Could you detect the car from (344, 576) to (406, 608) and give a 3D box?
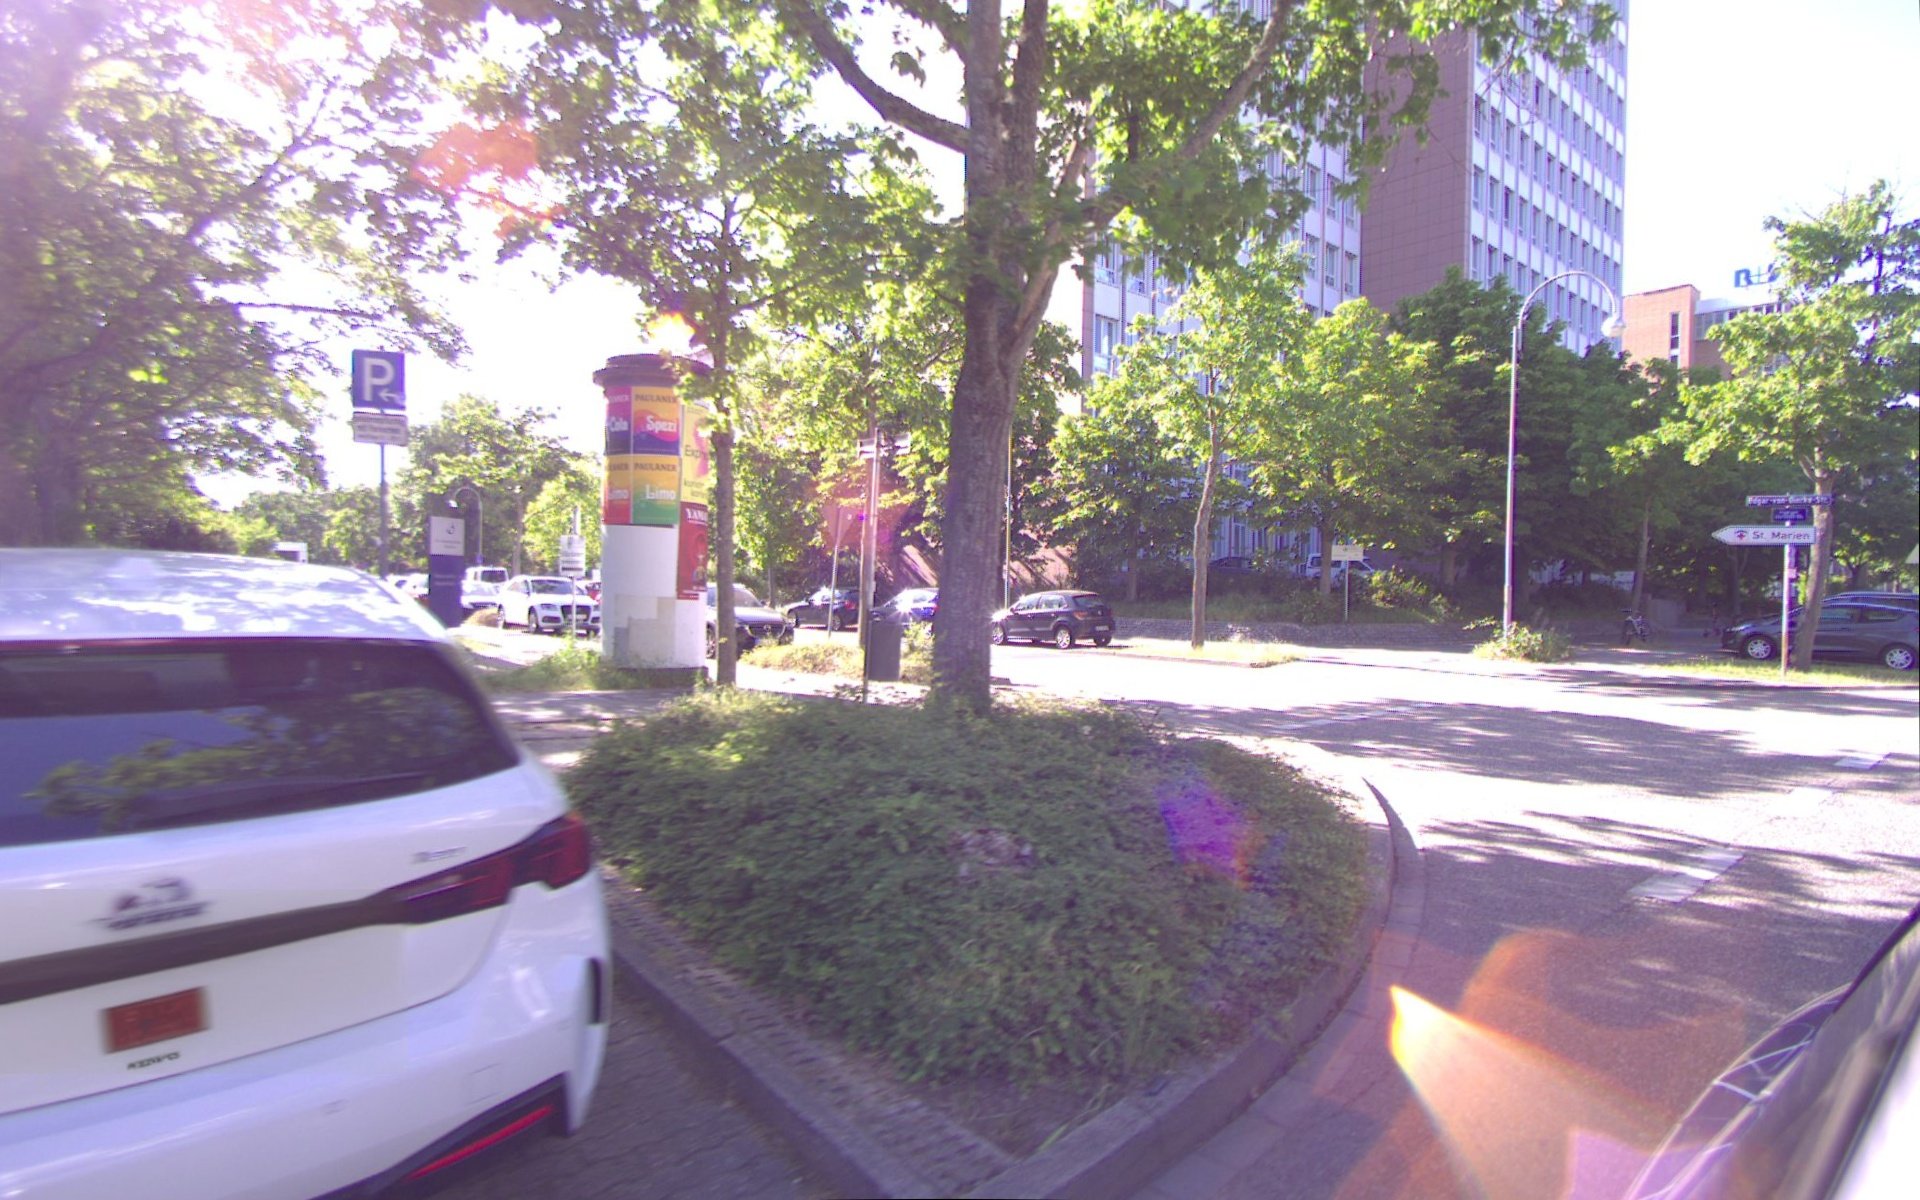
[{"bbox_3d":[-28.102,-0.399,48.553,1.888,1.464,3.994,0,1,-41],"label":"car"}]

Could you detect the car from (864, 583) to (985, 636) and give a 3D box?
[{"bbox_3d":[-1.135,0.237,30.615,1.621,1.487,3.851,0,1,-41],"label":"car"}]

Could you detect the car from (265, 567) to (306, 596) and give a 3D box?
[{"bbox_3d":[-47.831,-1.288,71.750,1.965,1.971,3.993,0,1,-41],"label":"car"}]

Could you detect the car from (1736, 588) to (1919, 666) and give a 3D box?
[{"bbox_3d":[20.654,0.622,23.568,1.565,1.464,3.842,3,3,-43],"label":"car"}]

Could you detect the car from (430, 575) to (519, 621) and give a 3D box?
[{"bbox_3d":[-16.982,-0.091,35.308,1.803,1.520,4.012,0,1,-41],"label":"car"}]

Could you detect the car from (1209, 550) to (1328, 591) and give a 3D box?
[{"bbox_3d":[12.132,-1.158,39.968,4.225,1.525,1.697,2,1,44],"label":"car"}]

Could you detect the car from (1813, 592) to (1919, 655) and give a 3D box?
[{"bbox_3d":[25.954,0.657,27.658,1.780,1.584,3.873,0,3,-45],"label":"car"}]

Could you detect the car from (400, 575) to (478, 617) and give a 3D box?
[{"bbox_3d":[-20.432,-0.189,39.607,1.803,1.563,4.012,0,1,-41],"label":"car"}]

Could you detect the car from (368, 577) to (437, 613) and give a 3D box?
[{"bbox_3d":[-24.330,-0.221,44.109,1.803,1.495,4.012,0,1,-41],"label":"car"}]

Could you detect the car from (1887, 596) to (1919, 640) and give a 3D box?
[{"bbox_3d":[34.681,0.690,35.059,1.694,1.525,3.579,0,3,-41],"label":"car"}]

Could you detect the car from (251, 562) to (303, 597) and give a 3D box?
[{"bbox_3d":[-40.479,-1.207,59.923,1.967,2.039,3.991,0,1,-43],"label":"car"}]

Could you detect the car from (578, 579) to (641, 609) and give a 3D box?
[{"bbox_3d":[-17.790,-0.333,51.343,1.737,1.442,3.868,0,1,-41],"label":"car"}]

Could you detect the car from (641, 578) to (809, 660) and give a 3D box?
[{"bbox_3d":[-5.064,0.333,21.470,1.803,1.550,3.994,1,1,-41],"label":"car"}]

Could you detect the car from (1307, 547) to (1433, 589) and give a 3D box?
[{"bbox_3d":[17.803,-1.407,44.117,1.844,1.707,4.720,0,1,-44],"label":"car"}]

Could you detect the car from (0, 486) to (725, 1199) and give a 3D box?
[{"bbox_3d":[-2.682,0.508,3.206,1.806,1.612,4.434,0,3,-43],"label":"car"}]

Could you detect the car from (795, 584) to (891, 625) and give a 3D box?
[{"bbox_3d":[-4.037,0.128,34.558,1.525,1.321,3.497,0,1,-41],"label":"car"}]

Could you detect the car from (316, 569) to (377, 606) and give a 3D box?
[{"bbox_3d":[-31.843,-0.664,52.455,1.965,1.822,4.443,0,1,-41],"label":"car"}]

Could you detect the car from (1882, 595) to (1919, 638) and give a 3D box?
[{"bbox_3d":[36.423,0.639,36.949,1.656,1.569,3.975,0,1,-44],"label":"car"}]

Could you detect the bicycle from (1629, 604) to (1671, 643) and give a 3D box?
[{"bbox_3d":[18.483,0.620,27.095,1.921,1.006,0.303,0,0,-37],"label":"bicycle"}]

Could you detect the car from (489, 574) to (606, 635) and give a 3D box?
[{"bbox_3d":[-11.992,0.092,29.261,1.803,1.639,4.451,0,1,-41],"label":"car"}]

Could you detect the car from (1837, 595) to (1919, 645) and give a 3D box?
[{"bbox_3d":[31.533,0.660,32.857,1.827,1.573,4.428,0,1,-41],"label":"car"}]

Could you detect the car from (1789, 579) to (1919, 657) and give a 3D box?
[{"bbox_3d":[22.888,0.435,24.789,1.693,1.772,3.683,0,2,-38],"label":"car"}]

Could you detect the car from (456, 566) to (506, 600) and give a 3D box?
[{"bbox_3d":[-31.928,-1.141,67.409,1.966,2.208,3.993,0,1,-42],"label":"car"}]

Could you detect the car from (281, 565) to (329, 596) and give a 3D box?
[{"bbox_3d":[-41.773,-1.236,64.494,1.966,1.923,3.992,0,1,-42],"label":"car"}]

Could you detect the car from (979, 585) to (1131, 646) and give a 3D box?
[{"bbox_3d":[2.463,0.346,27.016,1.738,1.466,3.996,-1,1,-39],"label":"car"}]

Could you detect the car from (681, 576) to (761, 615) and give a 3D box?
[{"bbox_3d":[-9.730,-0.195,41.086,1.680,1.512,3.767,0,1,-40],"label":"car"}]

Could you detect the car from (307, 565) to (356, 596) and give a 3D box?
[{"bbox_3d":[-35.019,-1.070,56.355,1.734,1.634,3.993,0,1,-41],"label":"car"}]
